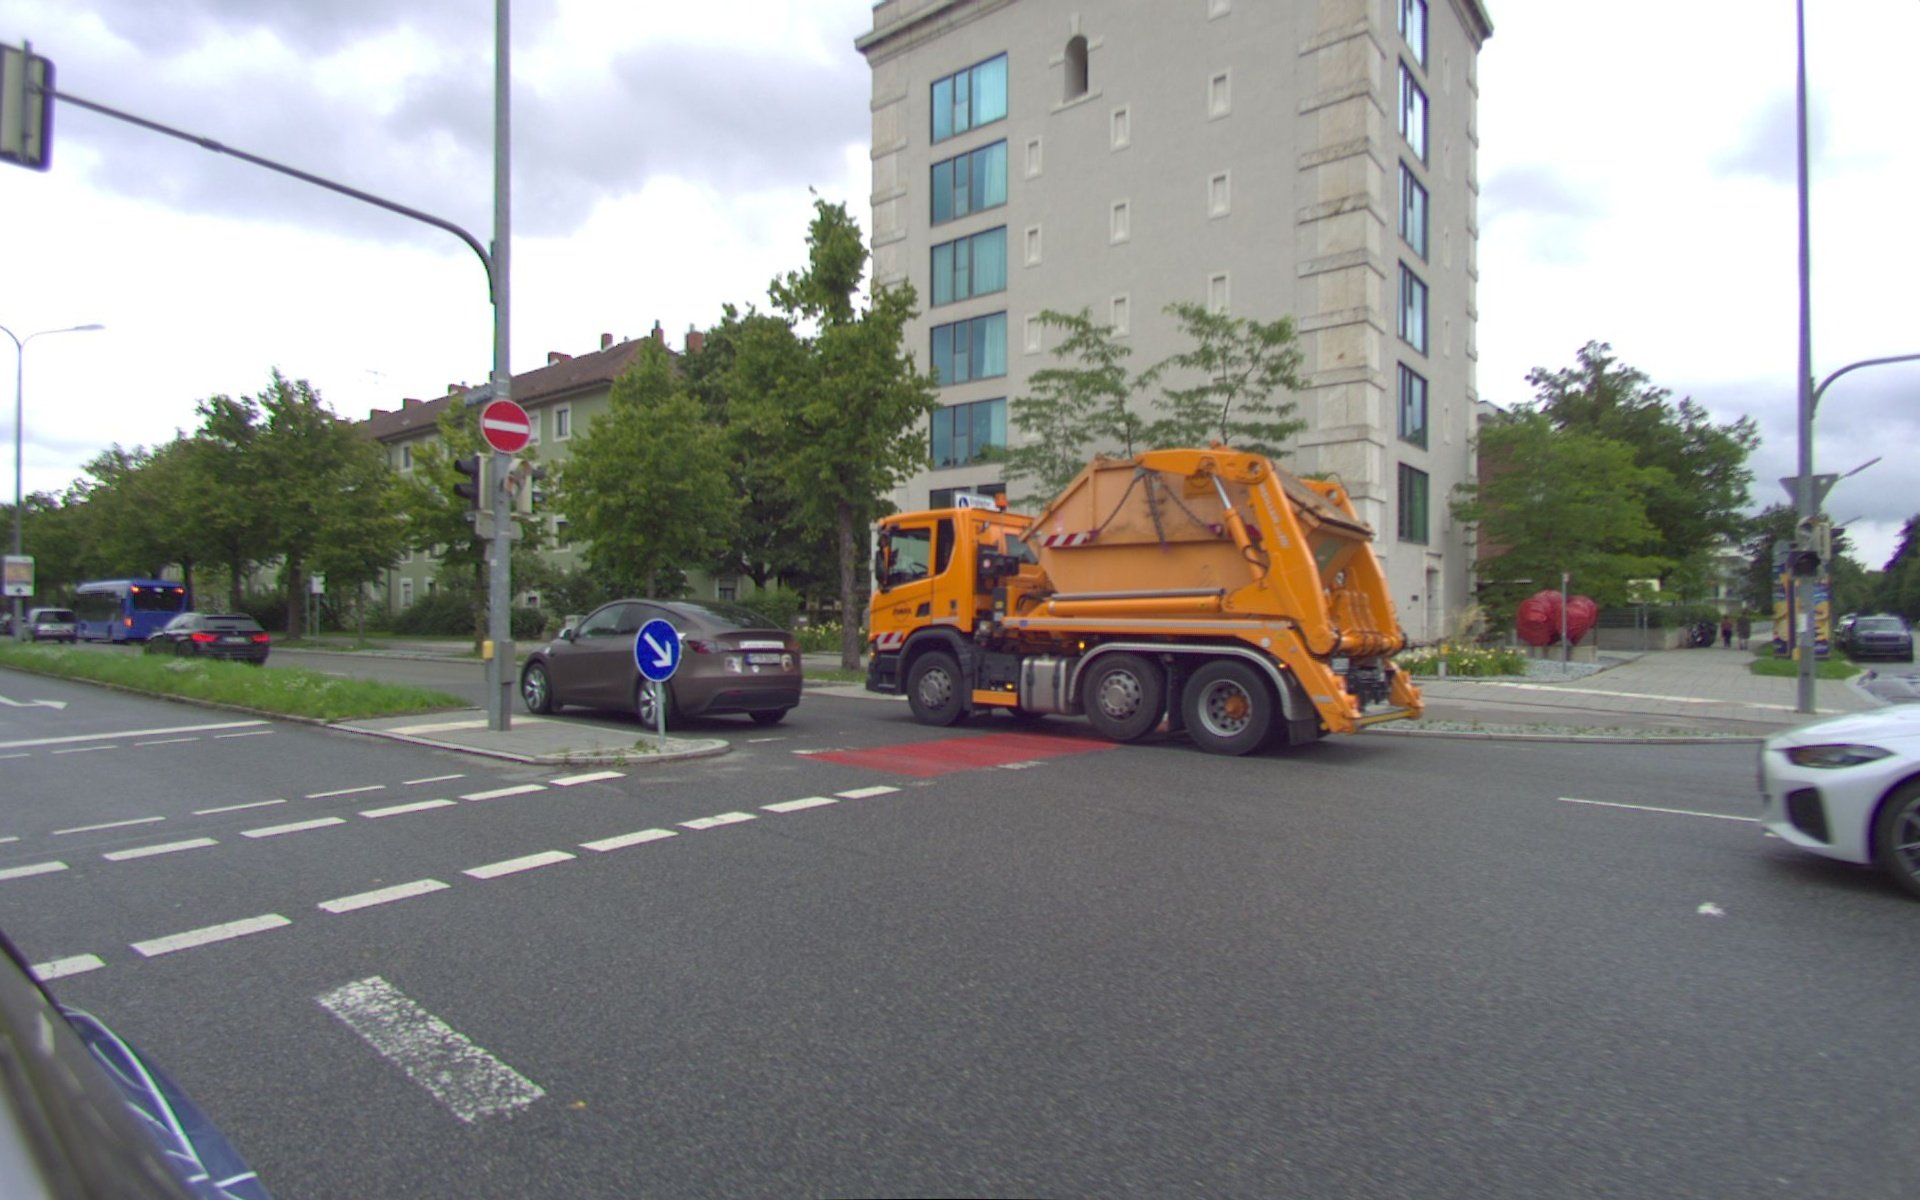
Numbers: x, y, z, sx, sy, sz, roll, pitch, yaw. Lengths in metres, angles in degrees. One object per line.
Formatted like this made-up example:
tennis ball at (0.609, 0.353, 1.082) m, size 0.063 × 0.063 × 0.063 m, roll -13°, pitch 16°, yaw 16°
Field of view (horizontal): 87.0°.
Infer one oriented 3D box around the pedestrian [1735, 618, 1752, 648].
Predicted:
pedestrian at (37.002, 1.556, 47.816) m, size 0.543 × 1.425 × 0.597 m, roll -1°, pitch -1°, yaw 30°

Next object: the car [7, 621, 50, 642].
car at (-69.322, 2.352, 75.303) m, size 3.907 × 1.473 × 1.833 m, roll -1°, pitch 0°, yaw 40°

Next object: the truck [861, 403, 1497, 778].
truck at (2.302, -0.040, 12.528) m, size 7.260 × 3.381 × 2.752 m, roll -1°, pitch -1°, yaw 40°

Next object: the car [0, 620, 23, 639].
car at (-77.543, 2.412, 82.022) m, size 3.907 × 1.473 × 1.833 m, roll -1°, pitch 0°, yaw 40°

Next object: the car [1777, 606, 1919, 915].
car at (6.596, 0.762, 4.374) m, size 4.739 × 1.498 × 1.710 m, roll -1°, pitch -1°, yaw 40°

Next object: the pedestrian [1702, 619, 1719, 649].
pedestrian at (36.345, 1.636, 49.024) m, size 0.543 × 1.425 × 0.597 m, roll -1°, pitch -1°, yaw 30°

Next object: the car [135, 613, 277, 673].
car at (-20.346, 1.136, 27.226) m, size 4.893 × 1.473 × 1.907 m, roll -1°, pitch -3°, yaw 39°

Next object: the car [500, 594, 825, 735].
car at (-4.087, 0.790, 13.468) m, size 4.746 × 1.553 × 1.843 m, roll -1°, pitch -4°, yaw 41°

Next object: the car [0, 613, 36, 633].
car at (-73.198, 1.751, 78.406) m, size 3.907 × 1.473 × 1.833 m, roll -1°, pitch 0°, yaw 40°

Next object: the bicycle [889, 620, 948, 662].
bicycle at (-1.211, 1.177, 29.395) m, size 1.825 × 1.190 × 0.539 m, roll -1°, pitch -1°, yaw 40°

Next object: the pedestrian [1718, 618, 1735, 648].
pedestrian at (36.685, 1.556, 48.412) m, size 0.543 × 1.425 × 0.597 m, roll -1°, pitch -1°, yaw 30°

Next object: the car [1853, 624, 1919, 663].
car at (36.383, 1.665, 39.659) m, size 1.927 × 1.427 × 4.155 m, roll -1°, pitch -1°, yaw 43°

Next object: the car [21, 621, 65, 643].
car at (-64.948, 2.270, 71.648) m, size 3.907 × 1.473 × 1.833 m, roll -1°, pitch 0°, yaw 40°

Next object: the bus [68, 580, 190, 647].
bus at (-45.699, 0.801, 55.453) m, size 12.035 × 3.369 × 2.718 m, roll -1°, pitch -2°, yaw 39°

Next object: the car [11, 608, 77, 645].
car at (-47.752, 1.384, 52.729) m, size 4.425 × 1.825 × 1.762 m, roll -1°, pitch -4°, yaw 38°

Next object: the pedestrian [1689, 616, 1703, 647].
pedestrian at (34.298, 1.481, 47.163) m, size 0.544 × 1.425 × 0.595 m, roll 0°, pitch 0°, yaw 36°
